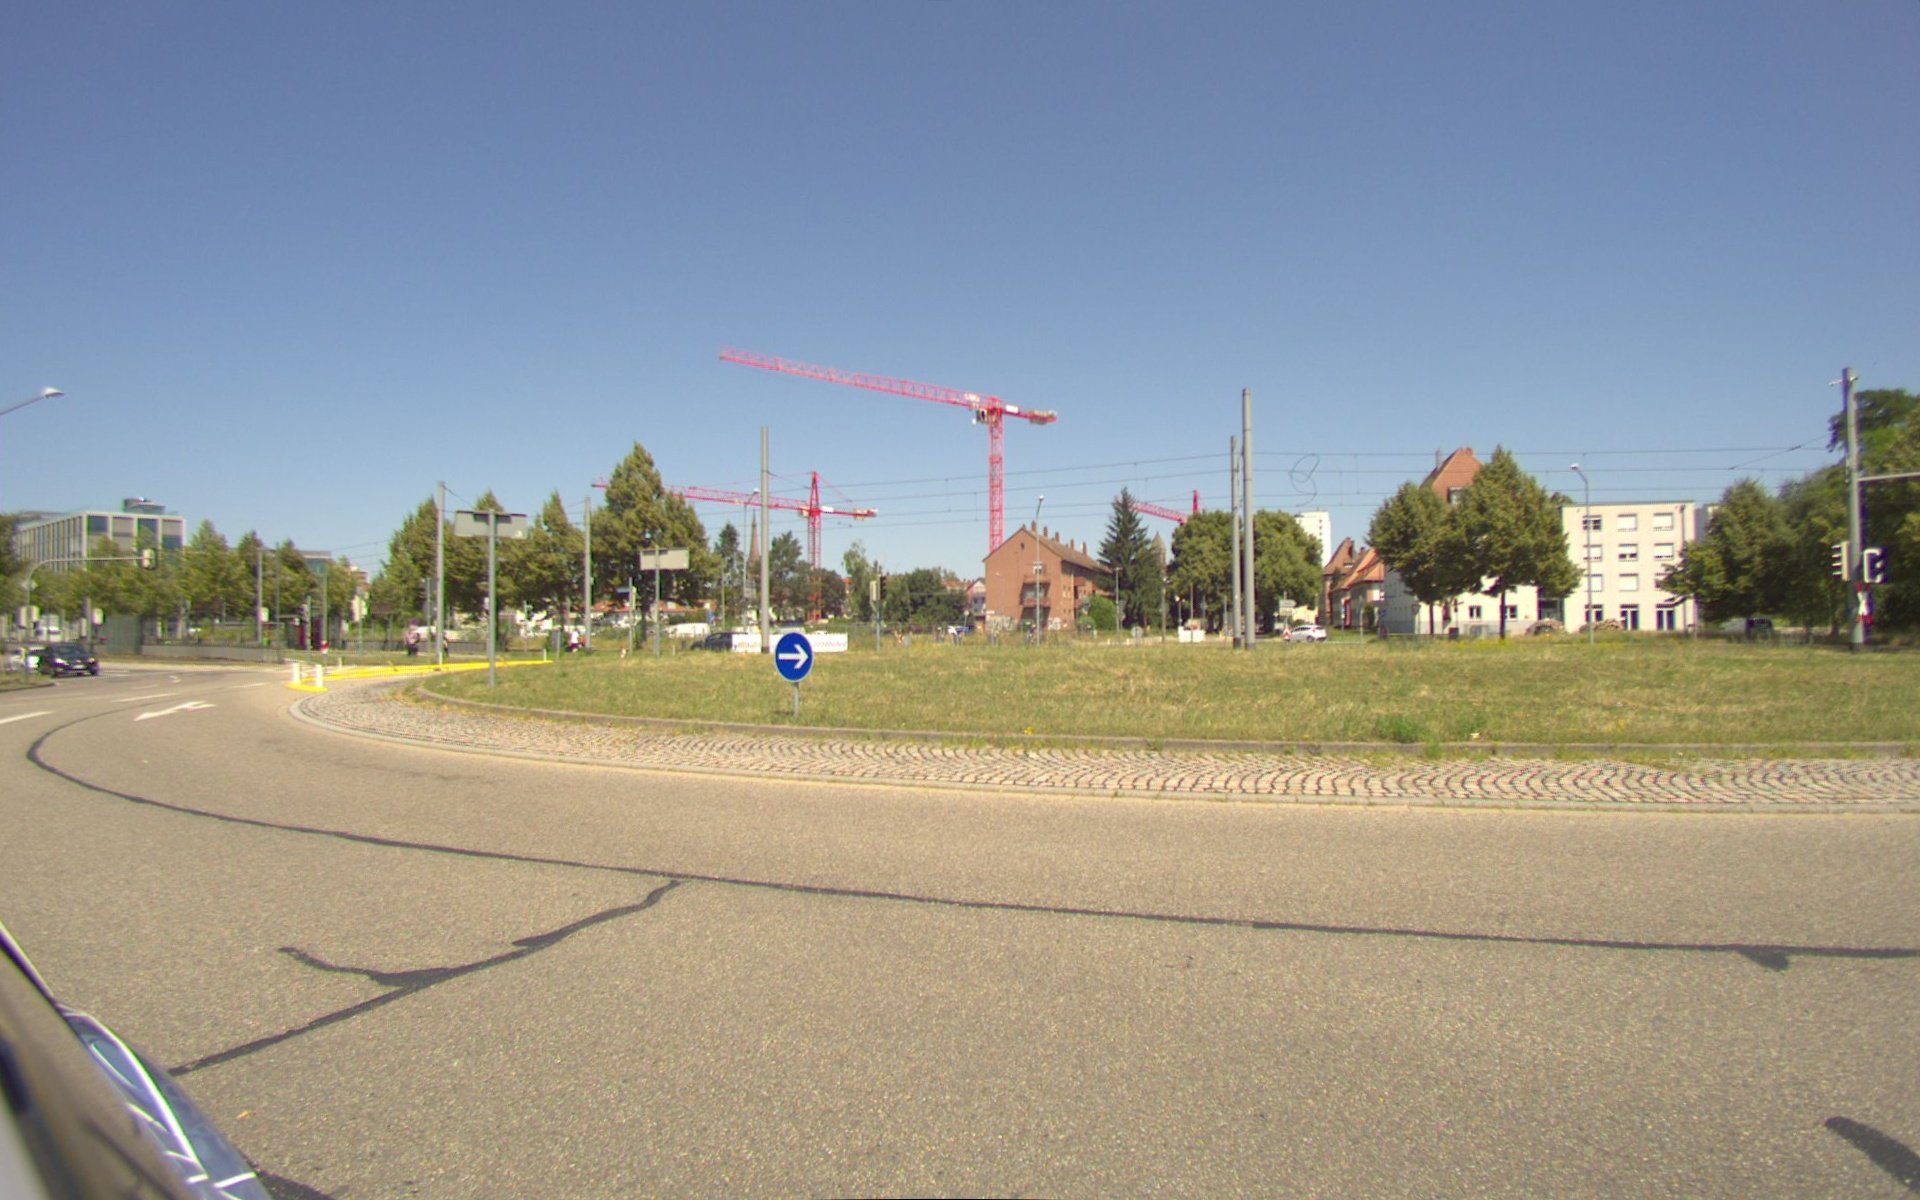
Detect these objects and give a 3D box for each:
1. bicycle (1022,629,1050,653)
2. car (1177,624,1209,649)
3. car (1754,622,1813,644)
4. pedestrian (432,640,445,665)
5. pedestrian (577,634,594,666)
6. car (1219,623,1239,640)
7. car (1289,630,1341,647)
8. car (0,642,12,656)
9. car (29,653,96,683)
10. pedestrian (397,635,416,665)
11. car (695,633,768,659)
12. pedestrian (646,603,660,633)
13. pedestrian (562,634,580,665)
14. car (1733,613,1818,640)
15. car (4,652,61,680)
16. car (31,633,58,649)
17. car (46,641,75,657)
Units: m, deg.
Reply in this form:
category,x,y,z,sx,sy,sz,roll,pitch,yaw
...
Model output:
category,x,y,z,sx,sy,sz,roll,pitch,yaw
bicycle,5.656,3.047,75.496,2.056,1.697,0.560,1,-1,-1
car,19.802,3.080,85.892,1.987,2.029,3.970,0,-1,22
car,78.069,3.095,95.981,1.968,2.029,4.007,2,-2,-40
pedestrian,-30.155,3.036,58.543,0.587,1.417,0.545,0,-2,-37
pedestrian,-23.677,3.163,63.999,0.735,2.029,0.733,2,-2,-43
car,33.261,3.860,125.092,1.987,2.029,3.970,0,-1,22
car,30.454,3.295,86.795,1.689,1.431,3.908,2,-2,-39
car,-148.645,7.634,156.671,3.991,2.029,1.976,0,-2,36
car,-42.689,3.206,48.108,3.561,1.222,1.719,0,-2,38
pedestrian,-31.688,2.858,57.968,0.749,1.652,0.782,2,-2,-42
car,-13.812,2.761,61.294,3.949,1.475,1.997,1,-1,5
pedestrian,-20.613,1.226,67.927,0.602,2.029,0.588,0,-2,35
pedestrian,-24.364,3.083,63.353,0.802,1.913,0.733,2,-2,-43
car,54.339,1.736,67.546,3.975,1.697,1.984,0,-1,23
car,-46.894,3.323,51.151,3.318,1.234,1.557,0,-2,38
car,-129.430,5.779,143.079,3.891,2.029,1.977,0,-1,34
car,-121.601,6.640,136.821,3.891,2.029,1.977,0,-1,34
